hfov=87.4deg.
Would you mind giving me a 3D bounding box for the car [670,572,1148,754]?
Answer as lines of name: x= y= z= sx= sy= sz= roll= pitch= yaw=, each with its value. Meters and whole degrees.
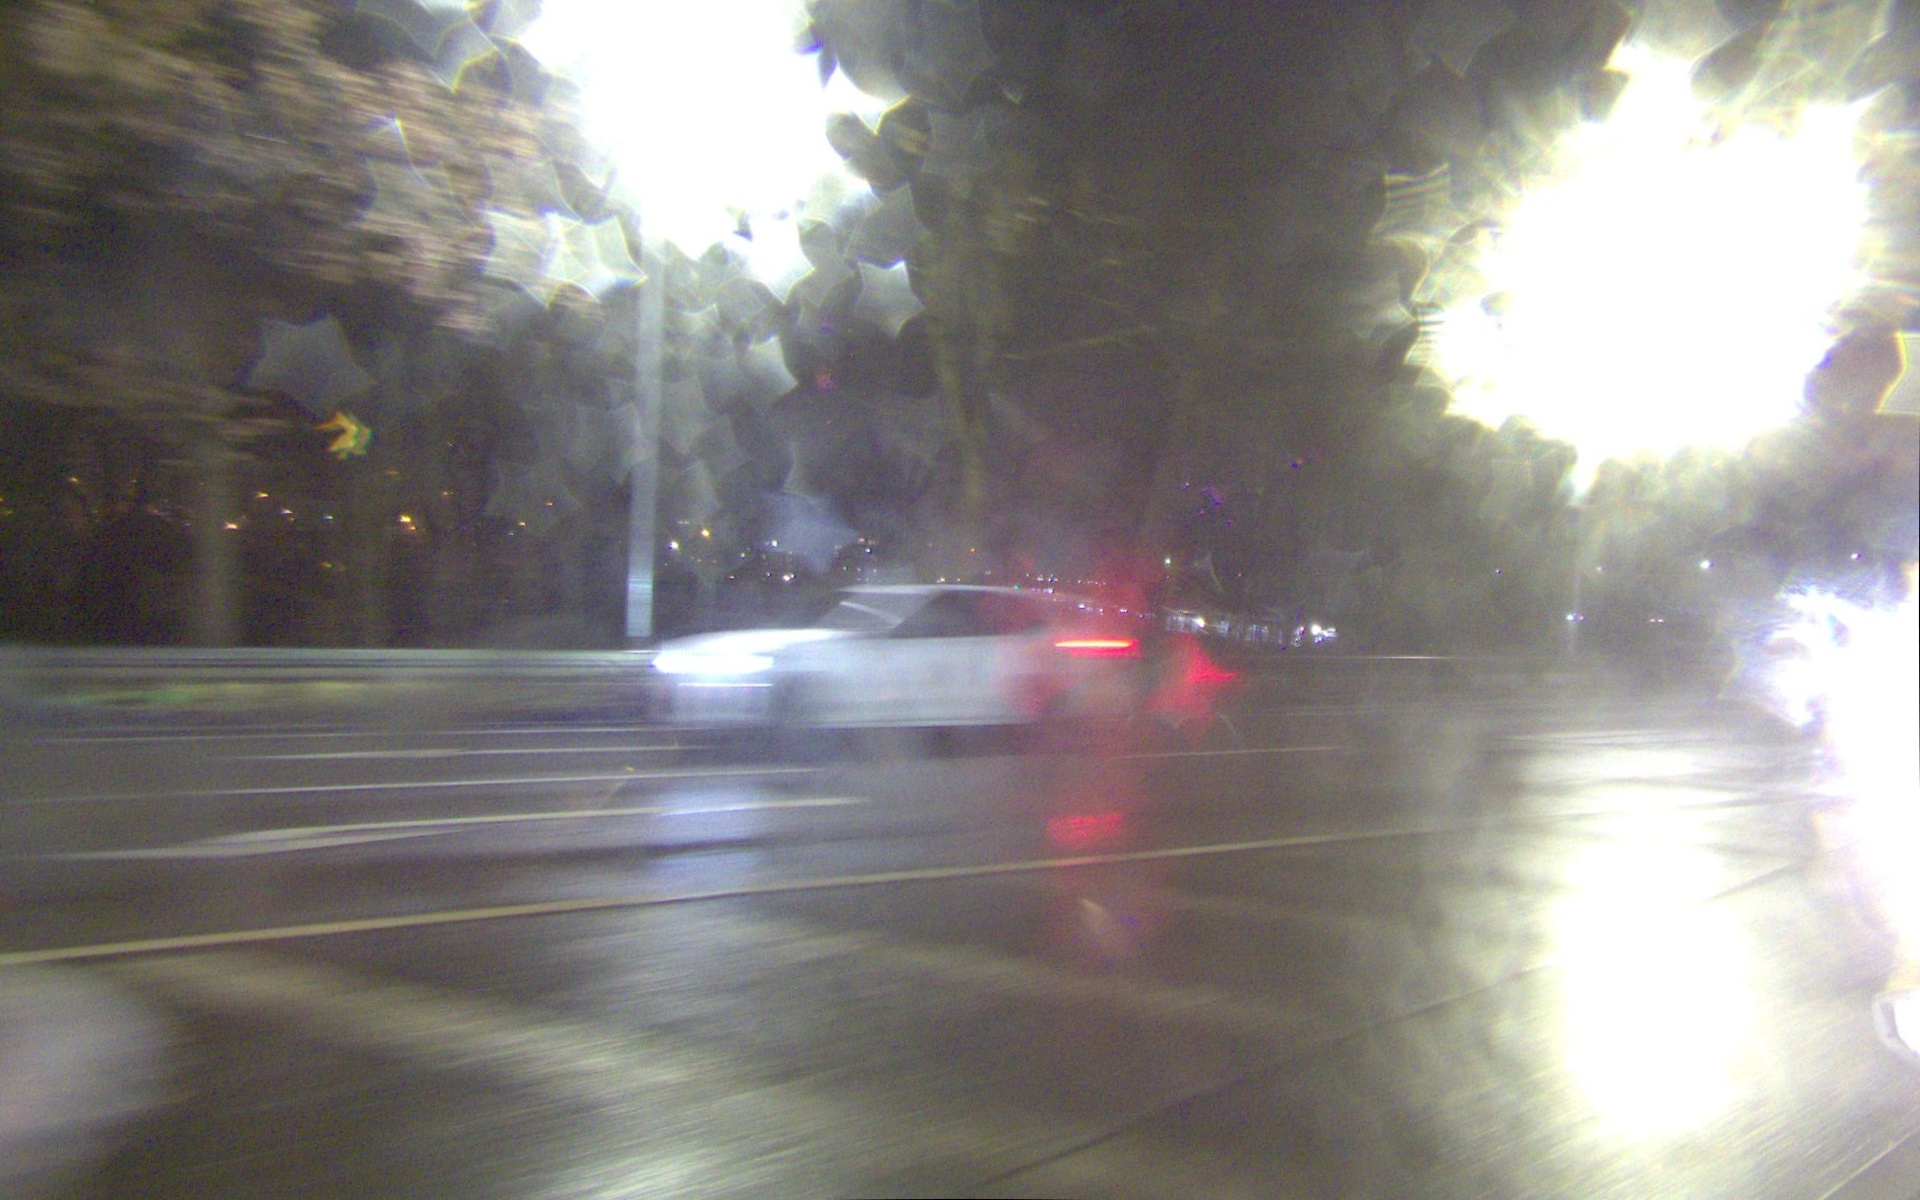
car: x=-0.549 y=0.594 z=10.789 sx=4.763 sy=1.626 sz=1.982 roll=1 pitch=0 yaw=-22
